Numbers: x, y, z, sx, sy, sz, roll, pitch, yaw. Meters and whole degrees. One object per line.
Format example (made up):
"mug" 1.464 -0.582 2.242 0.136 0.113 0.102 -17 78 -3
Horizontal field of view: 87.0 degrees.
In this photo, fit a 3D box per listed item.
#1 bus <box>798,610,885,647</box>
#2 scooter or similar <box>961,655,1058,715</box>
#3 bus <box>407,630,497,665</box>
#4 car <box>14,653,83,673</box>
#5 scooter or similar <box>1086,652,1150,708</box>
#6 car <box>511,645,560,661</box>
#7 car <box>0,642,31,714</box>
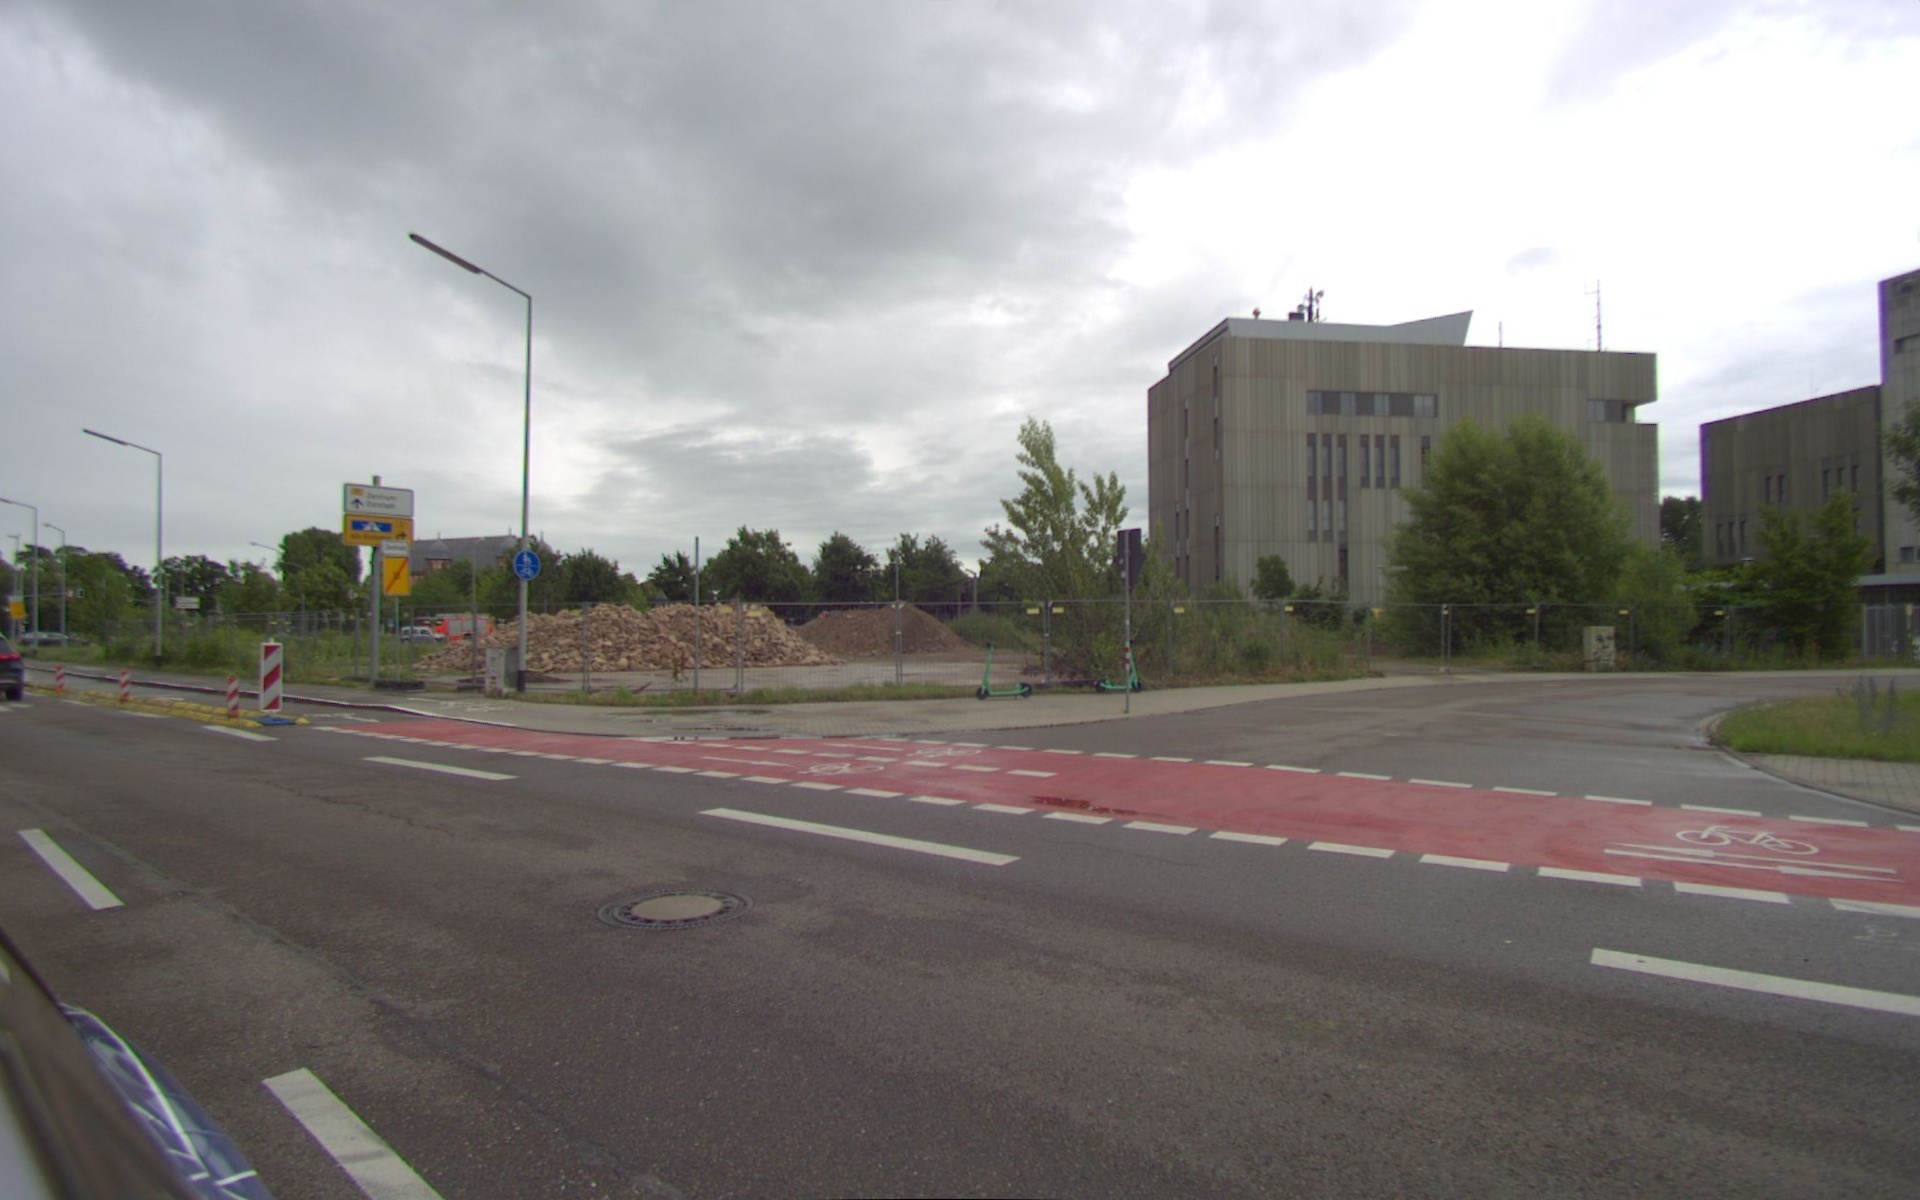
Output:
"bus" -13.561 3.290 115.839 9.733 4.013 2.739 -1 -3 -8
"scooter or similar" 0.994 1.711 20.587 1.874 1.151 0.657 -1 -2 -4
"bus" -55.097 5.147 109.973 8.262 3.676 2.740 0 -3 -10
"car" -78.392 5.409 87.140 4.290 1.630 2.003 2 -4 -39
"scooter or similar" 3.424 1.719 21.927 1.315 1.151 0.413 0 -1 -19
"car" -41.932 5.195 100.086 4.356 1.468 1.838 0 -2 -17
"car" -22.982 1.808 23.210 4.354 1.579 1.862 -4 -4 40
